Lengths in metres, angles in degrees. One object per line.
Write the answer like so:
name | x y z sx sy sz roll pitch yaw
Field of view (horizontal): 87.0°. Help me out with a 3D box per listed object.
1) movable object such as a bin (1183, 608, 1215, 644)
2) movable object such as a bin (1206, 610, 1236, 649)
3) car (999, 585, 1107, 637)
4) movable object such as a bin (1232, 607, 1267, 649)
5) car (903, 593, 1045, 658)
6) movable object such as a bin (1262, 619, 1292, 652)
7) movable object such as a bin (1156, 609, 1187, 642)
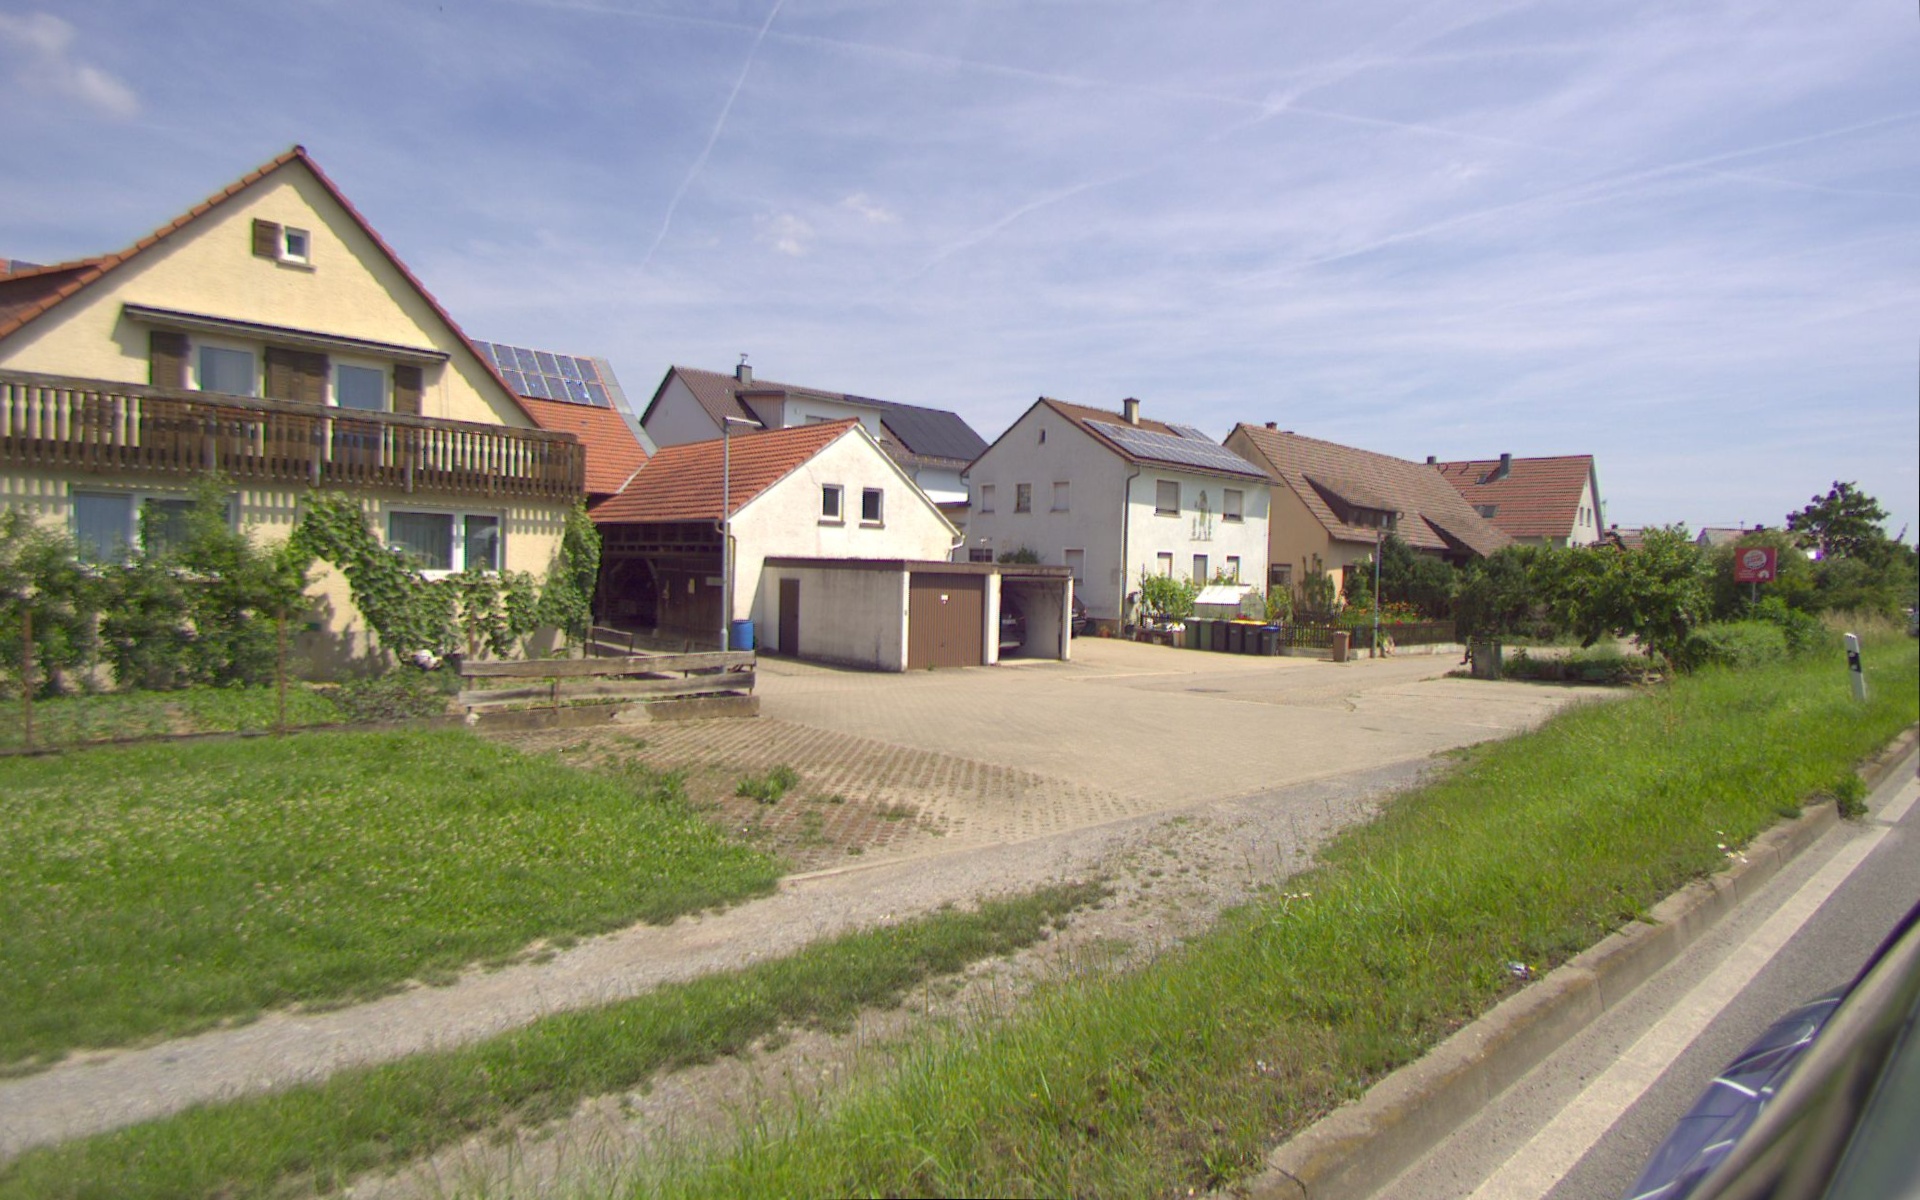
movable object such as a bin | 8.524 0.903 36.055 0.874 1.262 0.744 1 -1 -42
movable object such as a bin | 9.115 1.026 35.353 0.806 1.355 0.677 1 -1 -42
car | 3.508 0.362 38.900 1.796 1.755 3.995 0 3 -40
movable object such as a bin | 9.787 0.946 34.162 0.930 1.387 0.764 1 -1 -42
car | 0.322 0.642 28.148 1.794 1.624 3.995 1 0 -40
movable object such as a bin | 10.462 1.163 33.419 0.743 1.040 0.645 1 -1 -42
movable object such as a bin | 7.647 0.901 36.614 0.815 1.171 0.739 1 -1 -42
